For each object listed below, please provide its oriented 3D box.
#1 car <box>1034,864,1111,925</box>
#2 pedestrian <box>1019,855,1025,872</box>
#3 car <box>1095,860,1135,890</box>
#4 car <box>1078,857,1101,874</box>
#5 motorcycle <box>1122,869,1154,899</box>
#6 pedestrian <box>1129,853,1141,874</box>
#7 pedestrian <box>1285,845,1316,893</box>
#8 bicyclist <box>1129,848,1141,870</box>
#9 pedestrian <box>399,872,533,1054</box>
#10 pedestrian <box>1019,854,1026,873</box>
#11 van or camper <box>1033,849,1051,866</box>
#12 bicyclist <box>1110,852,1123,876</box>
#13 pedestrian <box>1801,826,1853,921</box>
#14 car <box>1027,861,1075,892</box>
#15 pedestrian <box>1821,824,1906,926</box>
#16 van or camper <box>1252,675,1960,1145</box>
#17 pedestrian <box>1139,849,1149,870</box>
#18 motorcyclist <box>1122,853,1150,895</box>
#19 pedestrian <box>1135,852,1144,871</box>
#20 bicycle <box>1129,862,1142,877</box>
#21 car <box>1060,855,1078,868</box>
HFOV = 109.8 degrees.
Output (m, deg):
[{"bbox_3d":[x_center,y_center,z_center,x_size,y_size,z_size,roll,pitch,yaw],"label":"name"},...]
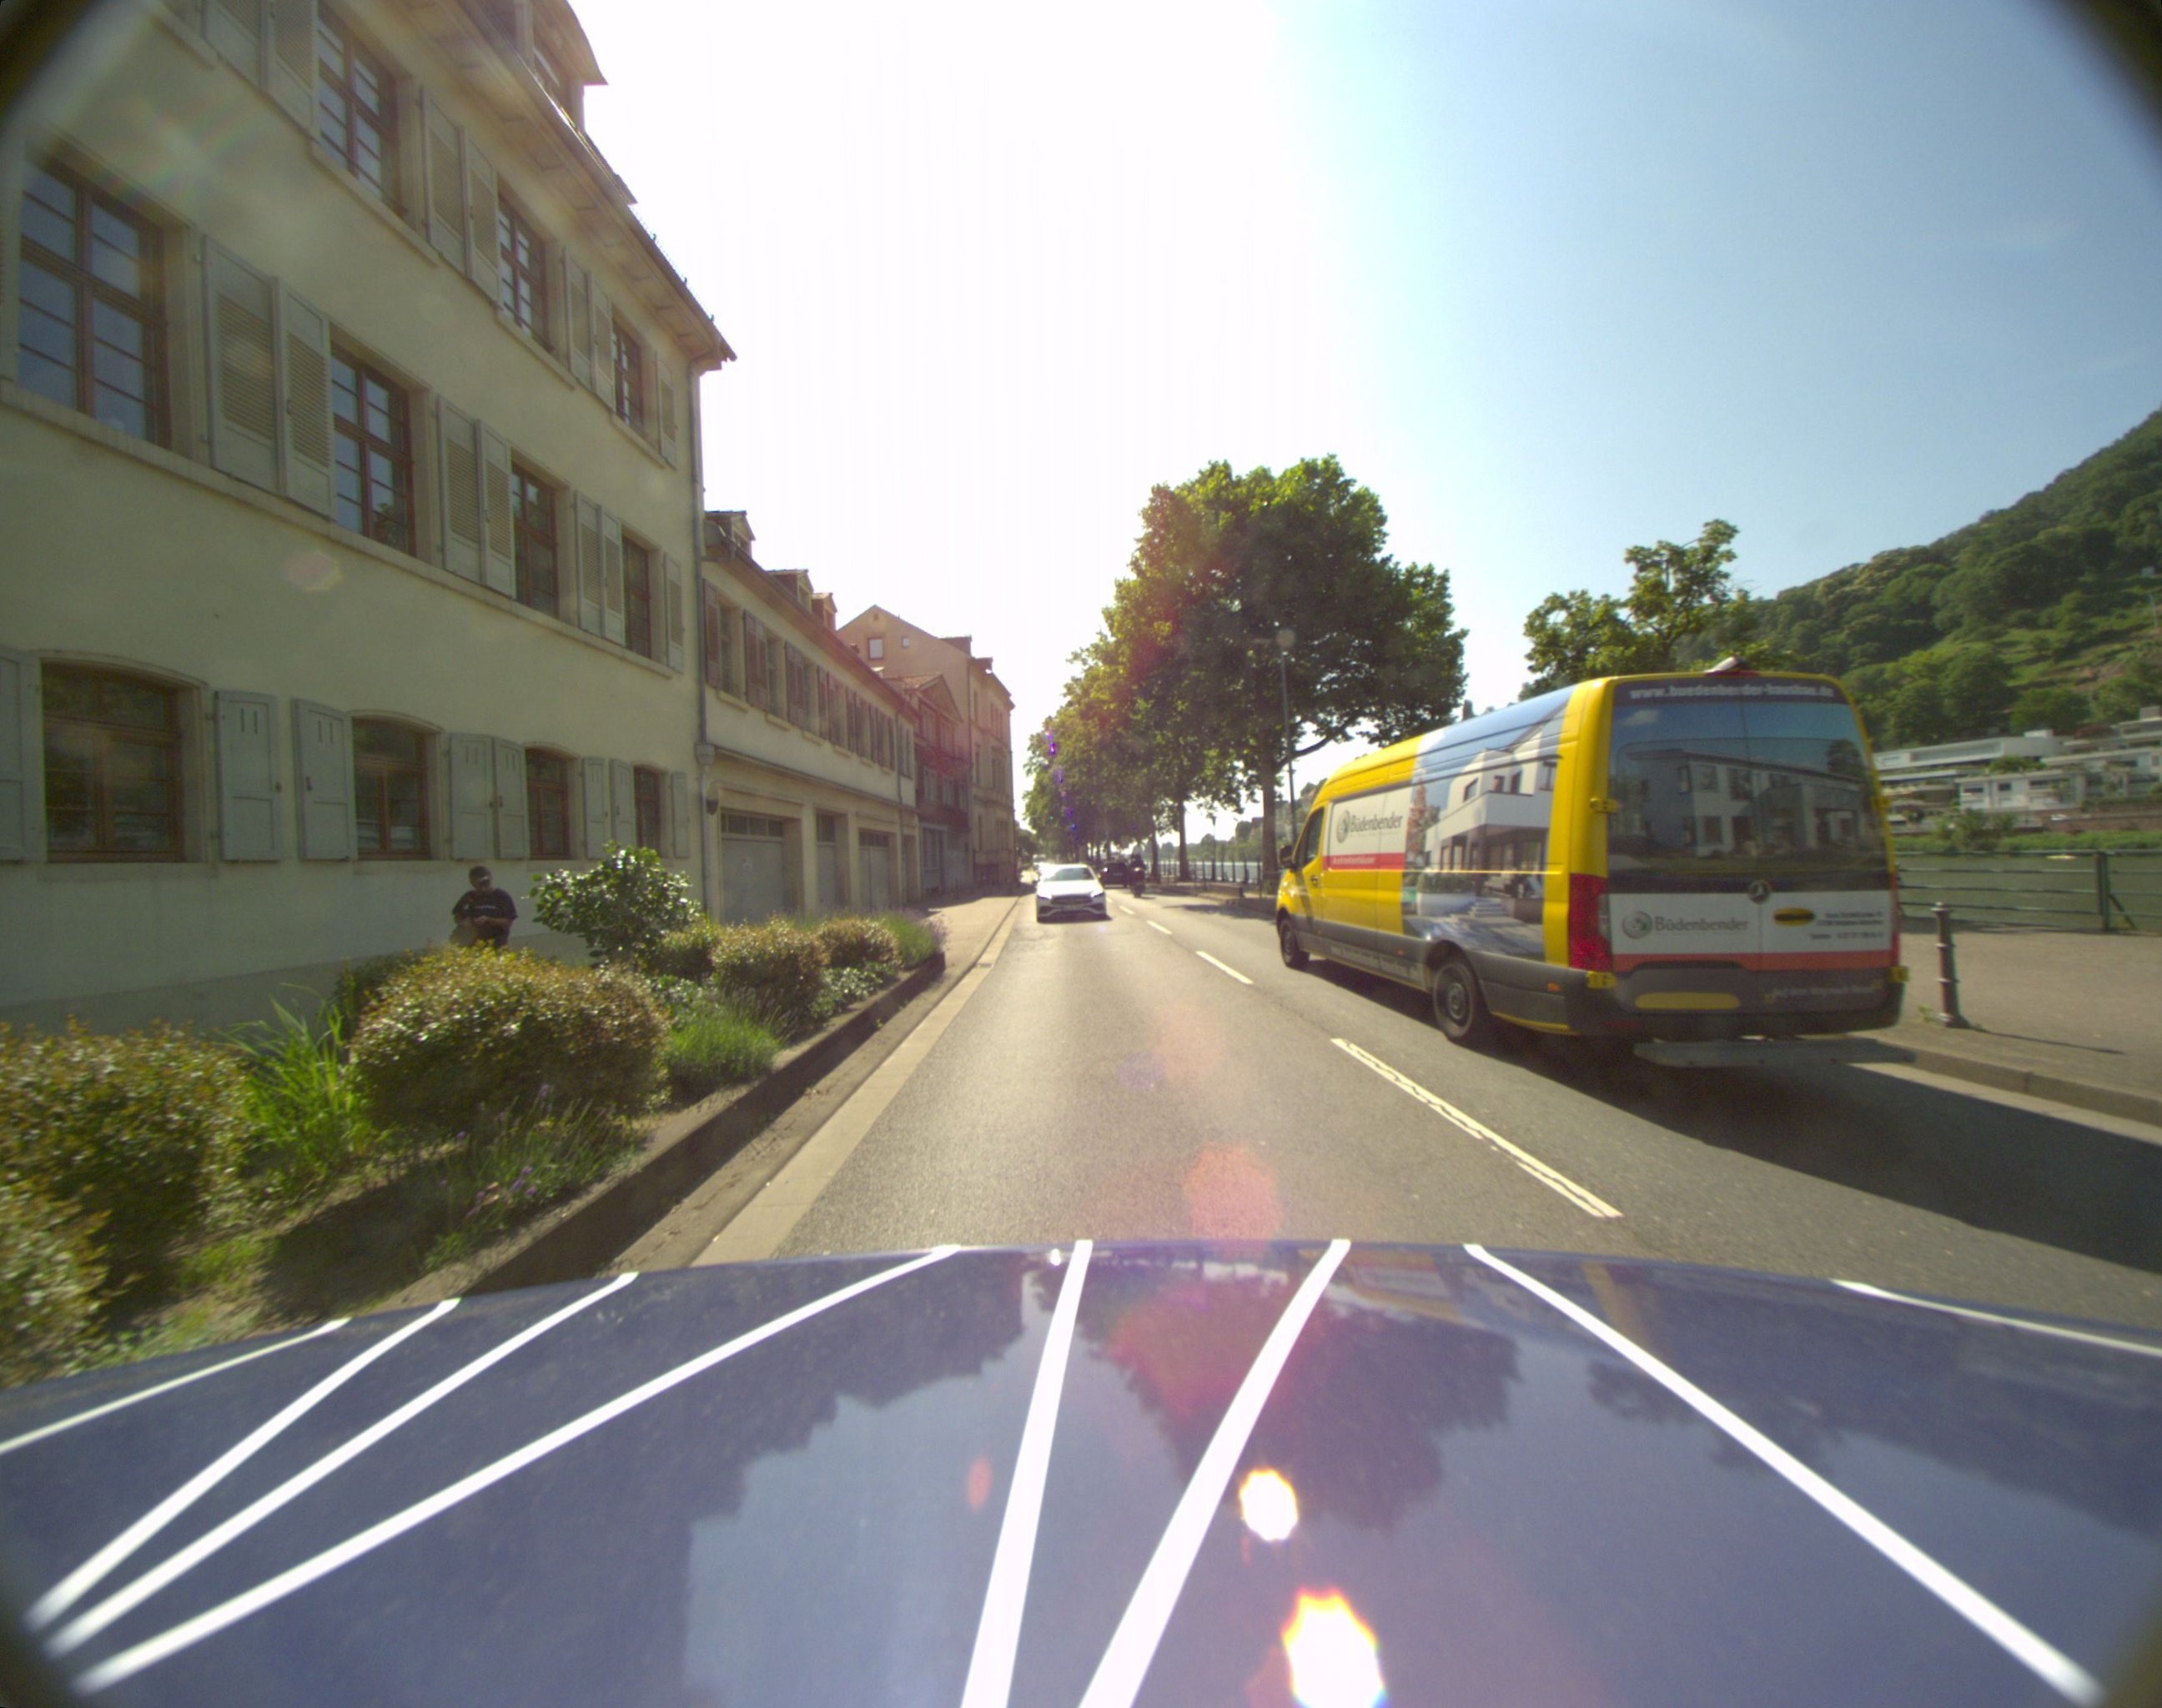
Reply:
[{"bbox_3d":[-0.317,1.038,21.183,1.876,1.415,4.743,-1,0,-3],"label":"car"},{"bbox_3d":[-5.795,0.910,75.006,0.528,1.702,0.665,-2,1,-4],"label":"pedestrian"},{"bbox_3d":[1.780,1.066,40.642,1.706,1.450,4.001,-1,0,-3],"label":"car"},{"bbox_3d":[0.741,1.032,68.040,1.706,1.436,4.091,-3,-1,-3],"label":"car"},{"bbox_3d":[2.188,1.122,29.494,0.885,1.071,2.327,-3,-1,-4],"label":"motorcycle"},{"bbox_3d":[4.512,0.771,63.564,0.837,1.703,0.782,-2,0,-4],"label":"pedestrian"},{"bbox_3d":[7.494,0.504,25.950,0.764,1.577,0.695,-2,1,-4],"label":"pedestrian"},{"bbox_3d":[3.940,0.381,55.025,0.721,1.574,1.089,-2,1,-1],"label":"bicyclist"},{"bbox_3d":[-6.119,1.051,7.598,0.763,1.703,0.696,1,1,0],"label":"pedestrian"},{"bbox_3d":[-5.871,0.917,75.724,0.618,1.841,0.730,-2,1,-3],"label":"pedestrian"},{"bbox_3d":[-5.681,0.522,109.866,2.438,2.271,6.202,-2,0,-4],"label":"van or camper"},{"bbox_3d":[2.373,0.696,50.910,0.768,1.522,1.025,-3,-2,-1],"label":"bicyclist"},{"bbox_3d":[12.777,0.330,13.025,0.415,1.588,0.451,-2,1,4],"label":"pedestrian"},{"bbox_3d":[-1.488,1.143,39.699,1.875,1.415,4.746,-3,0,4],"label":"car"},{"bbox_3d":[12.800,0.330,12.447,0.695,1.606,0.664,-2,1,4],"label":"pedestrian"},{"bbox_3d":[3.762,0.298,7.798,2.093,2.542,7.090,-2,0,-2],"label":"van or camper"},{"bbox_3d":[5.269,0.482,63.806,0.655,1.703,0.793,-1,0,-4],"label":"pedestrian"},{"bbox_3d":[2.135,0.772,29.610,0.881,1.574,1.024,-2,1,-4],"label":"motorcyclist"},{"bbox_3d":[5.530,0.682,72.061,0.713,1.754,0.972,-2,1,-4],"label":"pedestrian"},{"bbox_3d":[3.965,1.117,55.200,0.756,0.973,1.953,-2,0,-1],"label":"bicycle"},{"bbox_3d":[-1.558,0.953,96.305,1.740,1.509,4.401,-5,0,-8],"label":"car"}]
